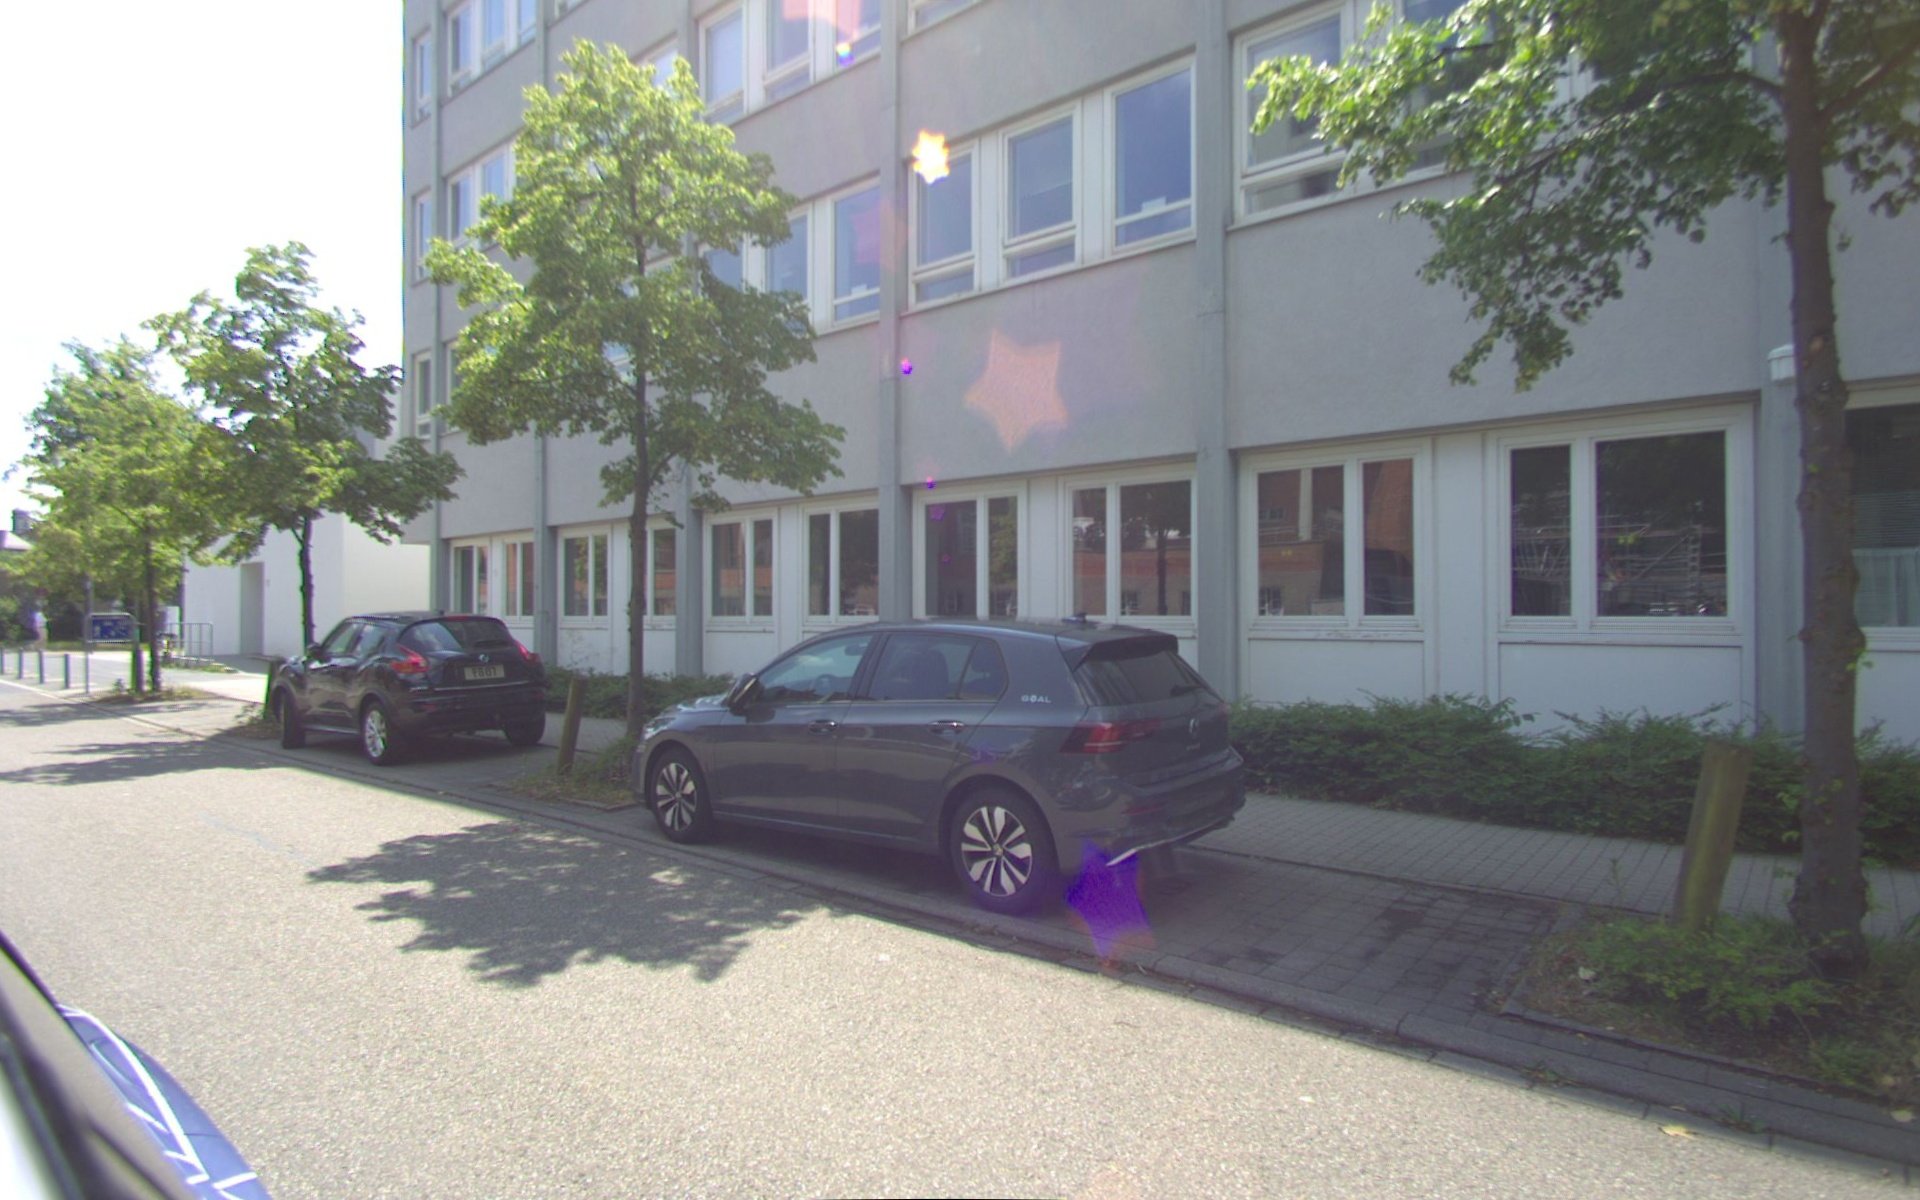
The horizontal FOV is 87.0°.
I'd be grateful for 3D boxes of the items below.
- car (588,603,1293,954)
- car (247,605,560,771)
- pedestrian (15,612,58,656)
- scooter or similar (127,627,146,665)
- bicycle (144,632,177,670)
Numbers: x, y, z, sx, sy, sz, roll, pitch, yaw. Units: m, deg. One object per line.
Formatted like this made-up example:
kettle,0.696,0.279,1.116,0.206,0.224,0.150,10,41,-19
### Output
car,-0.335,0.797,6.336,4.253,1.472,1.761,-1,0,38
car,-6.445,0.878,11.562,4.062,1.576,1.681,-1,-1,38
pedestrian,-39.311,1.444,43.084,1.007,1.862,0.919,2,-3,-20
scooter or similar,-28.488,1.586,35.022,0.476,1.272,1.316,0,-1,-38
bicycle,-23.579,1.476,29.843,1.900,1.069,0.537,-1,-2,45
